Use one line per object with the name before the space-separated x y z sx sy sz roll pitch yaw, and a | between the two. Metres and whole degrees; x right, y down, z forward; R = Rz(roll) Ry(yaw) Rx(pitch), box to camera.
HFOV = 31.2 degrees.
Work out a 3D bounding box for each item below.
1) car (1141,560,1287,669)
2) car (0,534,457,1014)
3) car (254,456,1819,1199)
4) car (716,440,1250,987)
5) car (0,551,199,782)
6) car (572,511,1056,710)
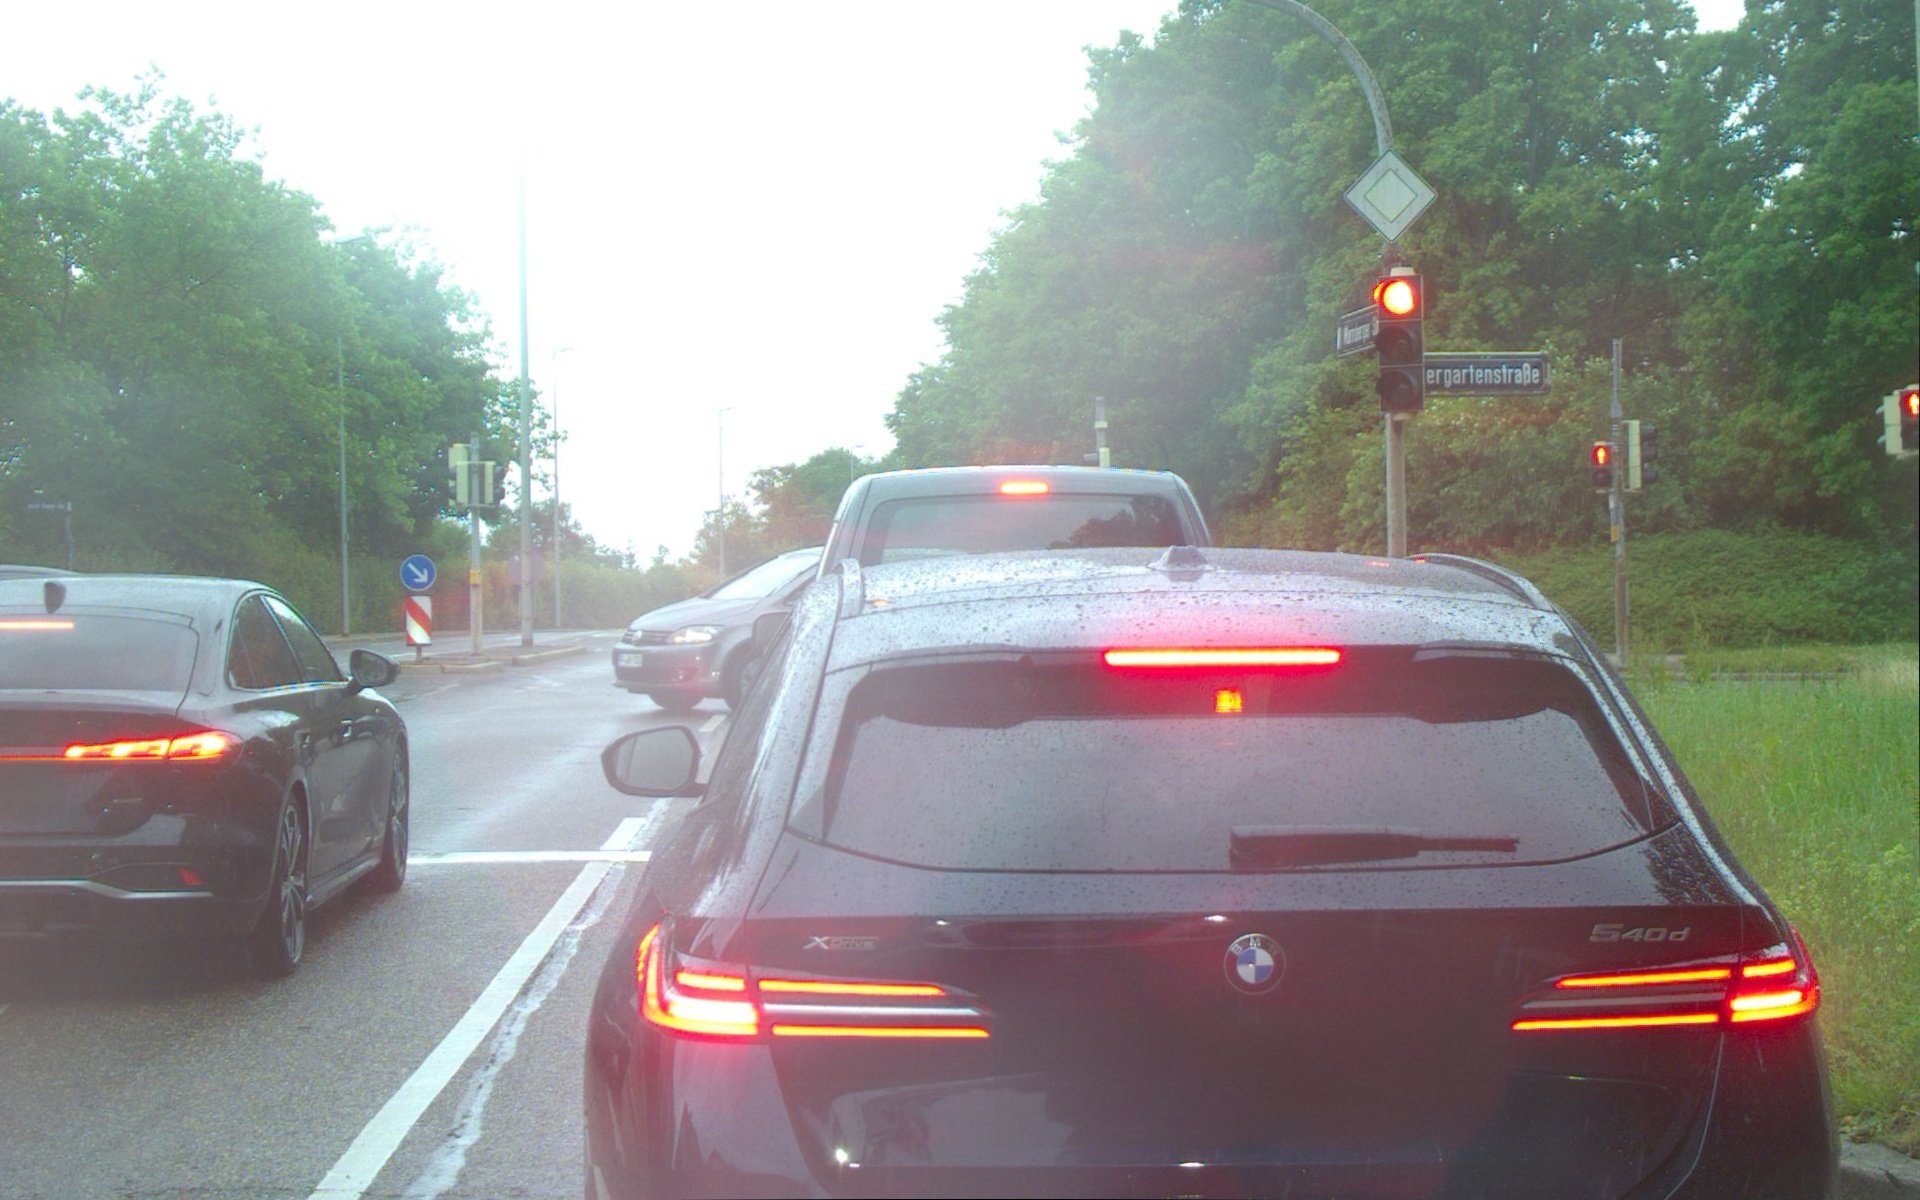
car | 3.856 0.204 52.781 1.873 1.537 3.952 -2 0 0
car | -3.292 0.574 13.325 1.993 1.522 4.328 -2 0 0
car | 0.199 0.607 6.480 1.898 1.546 4.614 0 0 3
car | 0.074 0.375 13.712 1.818 1.862 3.952 0 0 0
car | -7.209 0.479 23.494 1.897 1.504 3.995 -2 1 23
car | -1.322 0.072 31.480 4.018 1.596 1.748 -3 1 -30
